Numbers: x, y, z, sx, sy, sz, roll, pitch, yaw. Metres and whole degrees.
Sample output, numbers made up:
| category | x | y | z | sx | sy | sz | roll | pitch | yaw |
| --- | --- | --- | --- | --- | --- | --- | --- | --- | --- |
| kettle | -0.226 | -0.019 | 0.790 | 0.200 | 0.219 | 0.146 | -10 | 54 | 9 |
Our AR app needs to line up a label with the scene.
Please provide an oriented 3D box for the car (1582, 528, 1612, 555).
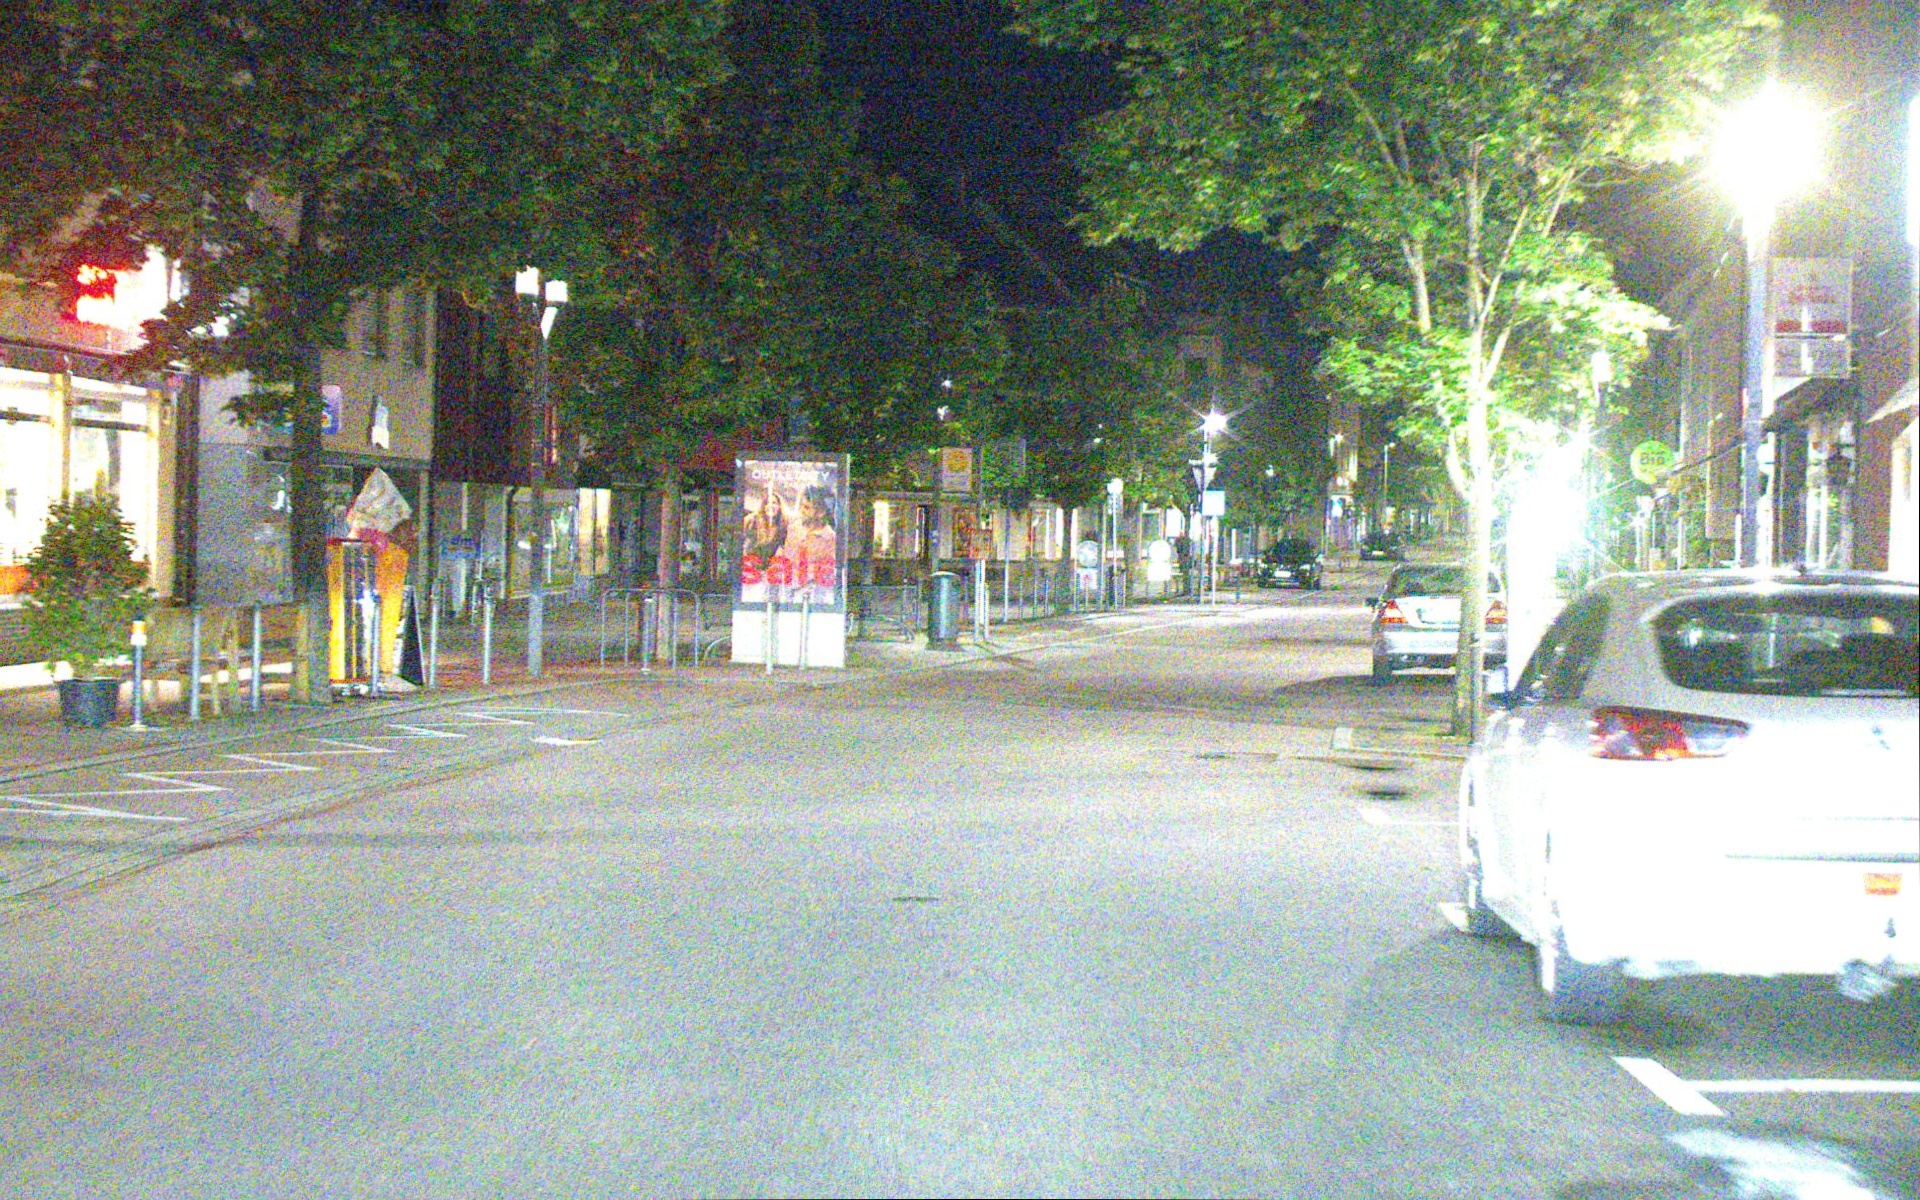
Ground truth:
| category | x | y | z | sx | sy | sz | roll | pitch | yaw |
| --- | --- | --- | --- | --- | --- | --- | --- | --- | --- |
| car | 41.332 | -3.790 | 222.892 | 1.776 | 1.646 | 4.362 | 1 | 2 | 12 |

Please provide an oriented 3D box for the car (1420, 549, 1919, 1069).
| category | x | y | z | sx | sy | sz | roll | pitch | yaw |
| --- | --- | --- | --- | --- | --- | --- | --- | --- | --- |
| car | 2.740 | 0.614 | 12.229 | 1.742 | 1.482 | 4.636 | 1 | 0 | 2 |

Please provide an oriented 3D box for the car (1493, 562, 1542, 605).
| category | x | y | z | sx | sy | sz | roll | pitch | yaw |
| --- | --- | --- | --- | --- | --- | --- | --- | --- | --- |
| car | 19.988 | -0.595 | 123.317 | 1.675 | 1.454 | 3.674 | 1 | 1 | 9 |

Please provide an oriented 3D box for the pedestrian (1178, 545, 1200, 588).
| category | x | y | z | sx | sy | sz | roll | pitch | yaw |
| --- | --- | --- | --- | --- | --- | --- | --- | --- | --- |
| pedestrian | 9.072 | -1.314 | 136.045 | 0.769 | 1.650 | 0.781 | 1 | 3 | 12 |

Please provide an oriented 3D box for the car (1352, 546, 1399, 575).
| category | x | y | z | sx | sy | sz | roll | pitch | yaw |
| --- | --- | --- | --- | --- | --- | --- | --- | --- | --- |
| car | 20.858 | -1.999 | 172.590 | 1.915 | 1.366 | 4.455 | 1 | 2 | 12 |

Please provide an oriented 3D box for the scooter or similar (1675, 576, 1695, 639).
| category | x | y | z | sx | sy | sz | roll | pitch | yaw |
| --- | --- | --- | --- | --- | --- | --- | --- | --- | --- |
| scooter or similar | 14.670 | 0.153 | 69.580 | 0.373 | 1.272 | 1.305 | 1 | 0 | 11 |

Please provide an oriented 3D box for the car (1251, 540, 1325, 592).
| category | x | y | z | sx | sy | sz | roll | pitch | yaw |
| --- | --- | --- | --- | --- | --- | --- | --- | --- | --- |
| car | 11.400 | -1.192 | 119.250 | 2.019 | 1.685 | 5.001 | 3 | 2 | 11 |

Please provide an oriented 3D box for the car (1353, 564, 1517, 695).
| category | x | y | z | sx | sy | sz | roll | pitch | yaw |
| --- | --- | --- | --- | --- | --- | --- | --- | --- | --- |
| car | 5.700 | 0.312 | 41.681 | 1.734 | 1.436 | 4.496 | 1 | 1 | 5 |
